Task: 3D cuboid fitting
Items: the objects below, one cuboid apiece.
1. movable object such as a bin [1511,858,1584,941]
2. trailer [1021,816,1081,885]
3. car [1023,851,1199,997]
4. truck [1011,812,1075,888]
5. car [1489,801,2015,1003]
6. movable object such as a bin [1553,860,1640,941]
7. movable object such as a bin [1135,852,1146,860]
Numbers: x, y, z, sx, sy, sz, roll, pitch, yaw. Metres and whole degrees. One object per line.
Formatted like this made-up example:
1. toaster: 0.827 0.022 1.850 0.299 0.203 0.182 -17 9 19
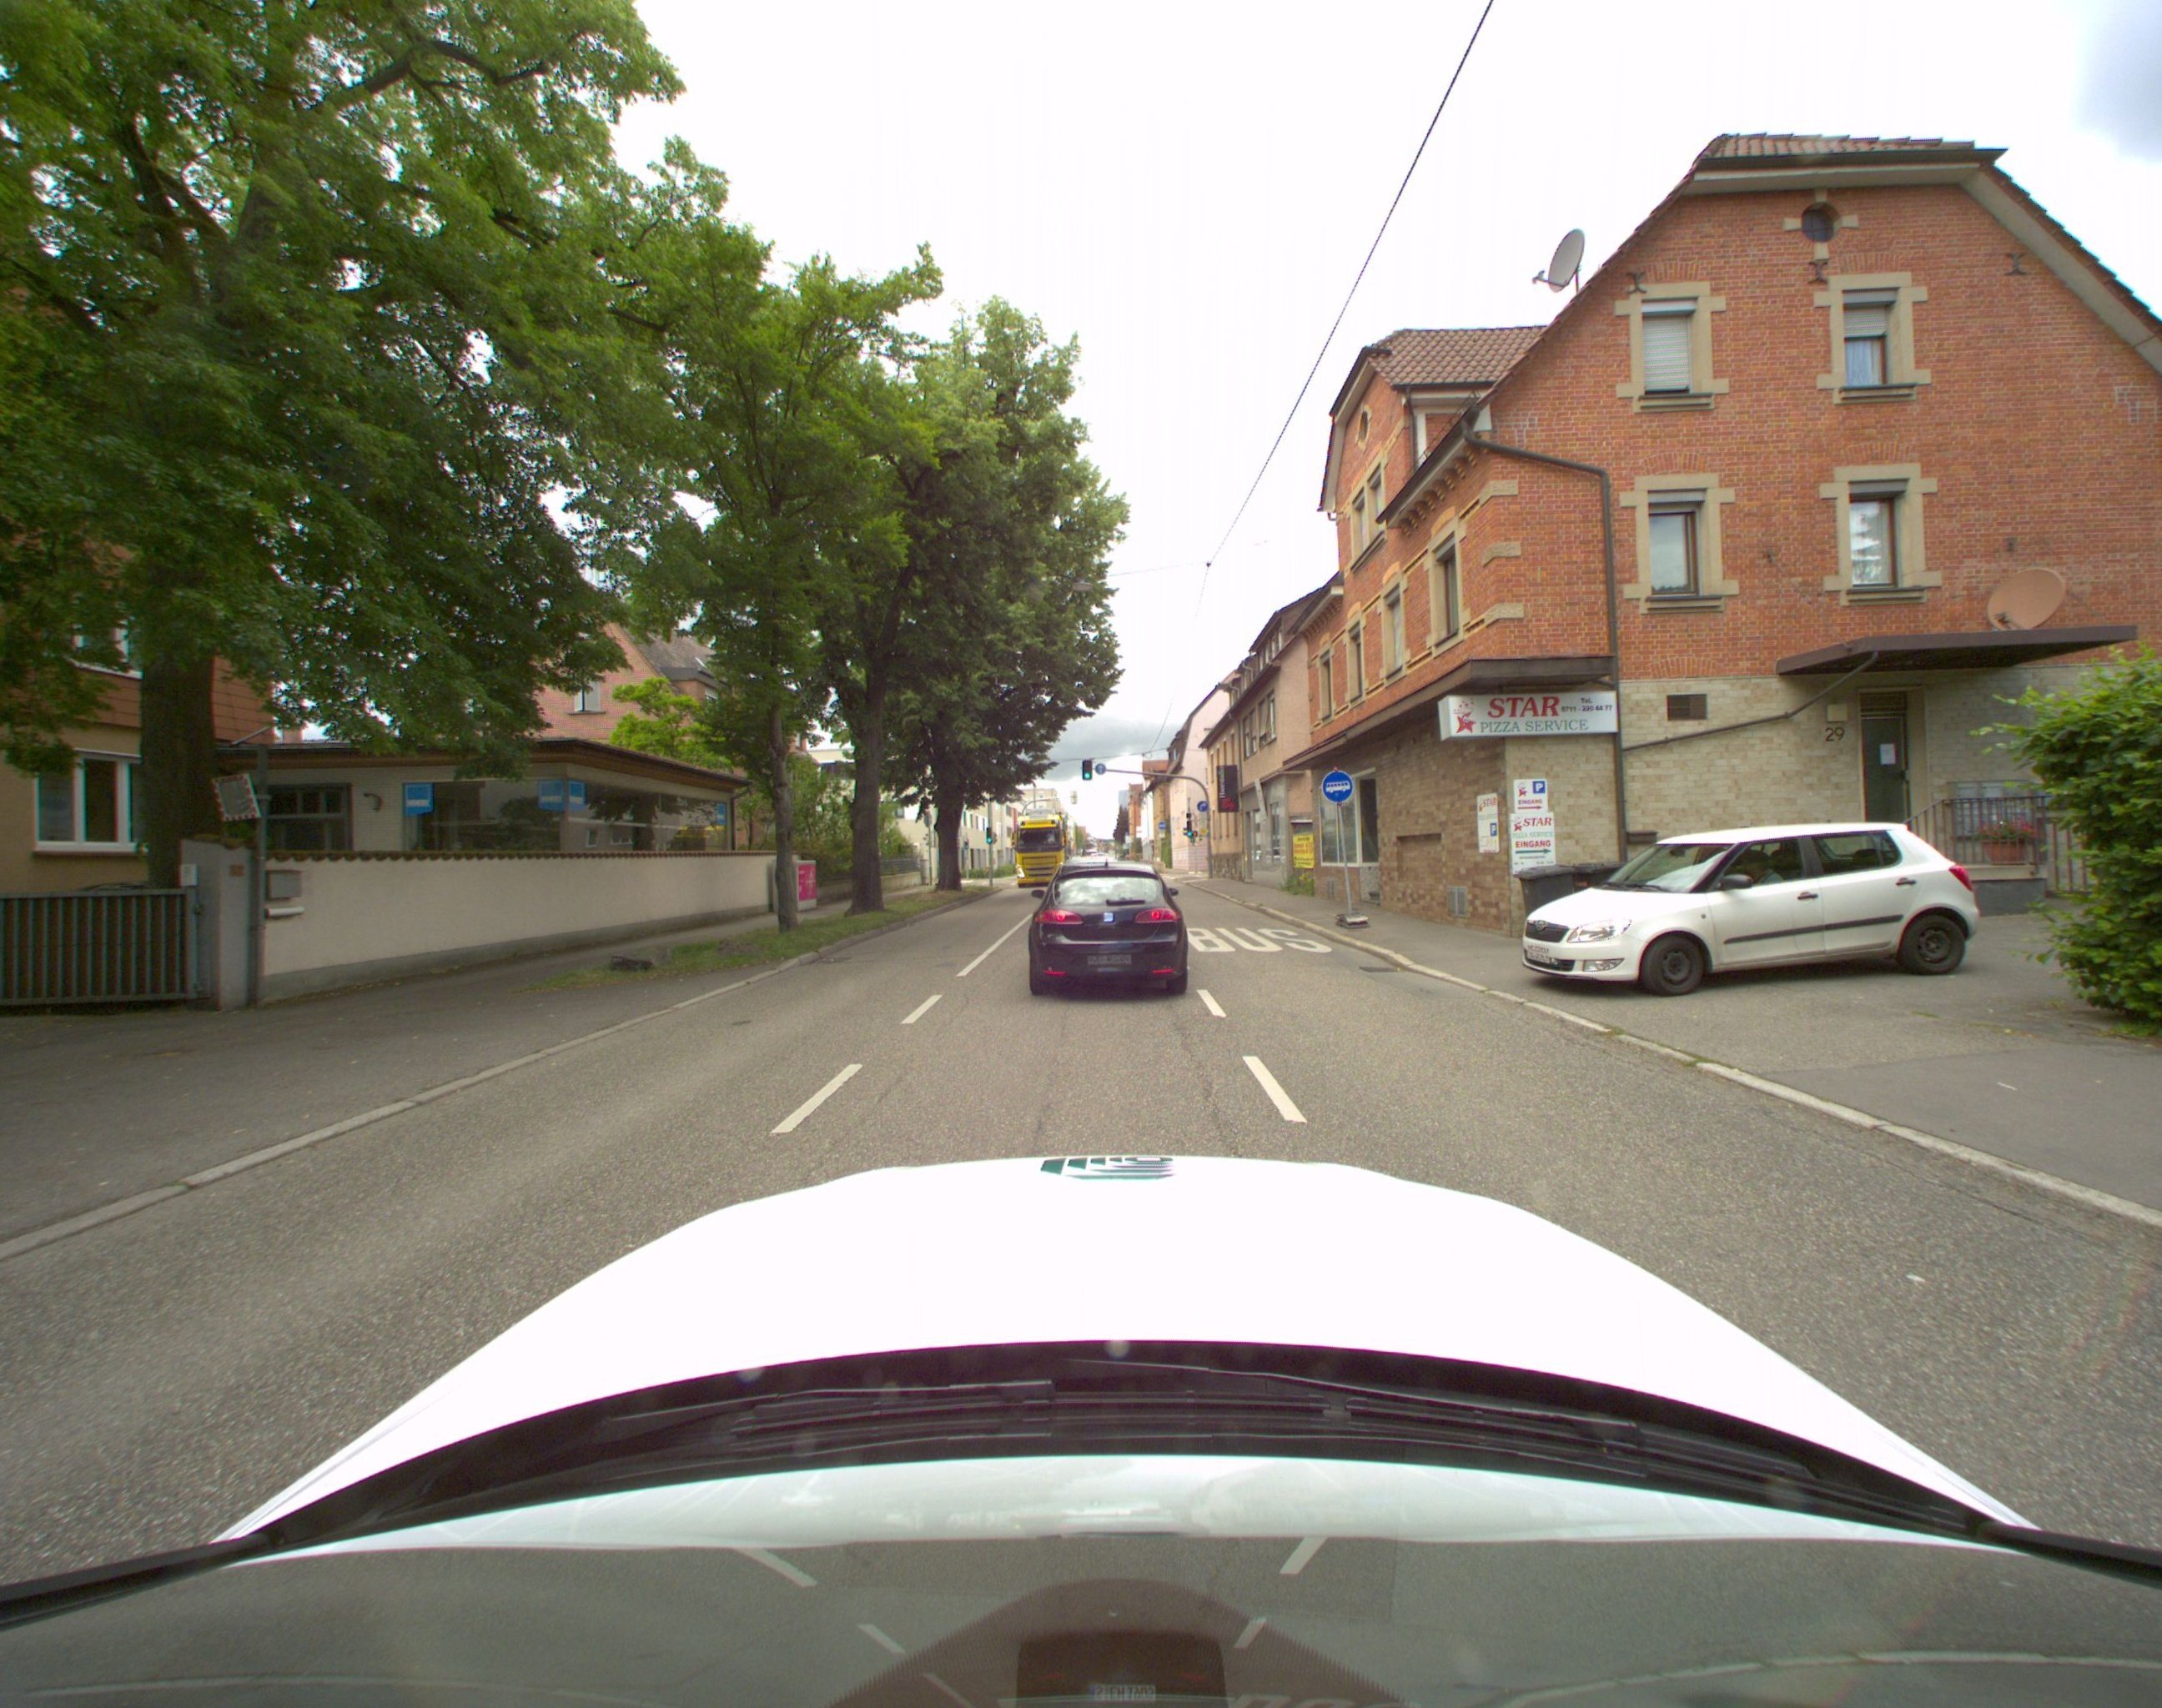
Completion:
1. movable object such as a bin: 6.522 0.620 11.415 0.604 1.100 0.623 -4 -1 1
2. trailer: -1.689 -0.132 52.751 2.847 3.808 14.395 -1 0 2
3. car: 0.353 0.722 10.219 1.752 1.442 4.001 -1 0 1
4. truck: -1.950 -0.192 44.735 2.833 3.782 7.672 -1 -1 2
5. car: 6.641 0.449 8.361 4.017 1.470 1.600 -6 -1 -1
6. movable object such as a bin: 7.229 0.631 11.450 0.696 1.059 0.724 -4 -1 1
7. movable object such as a bin: 10.299 0.334 140.793 1.811 1.437 1.994 -1 -1 2
